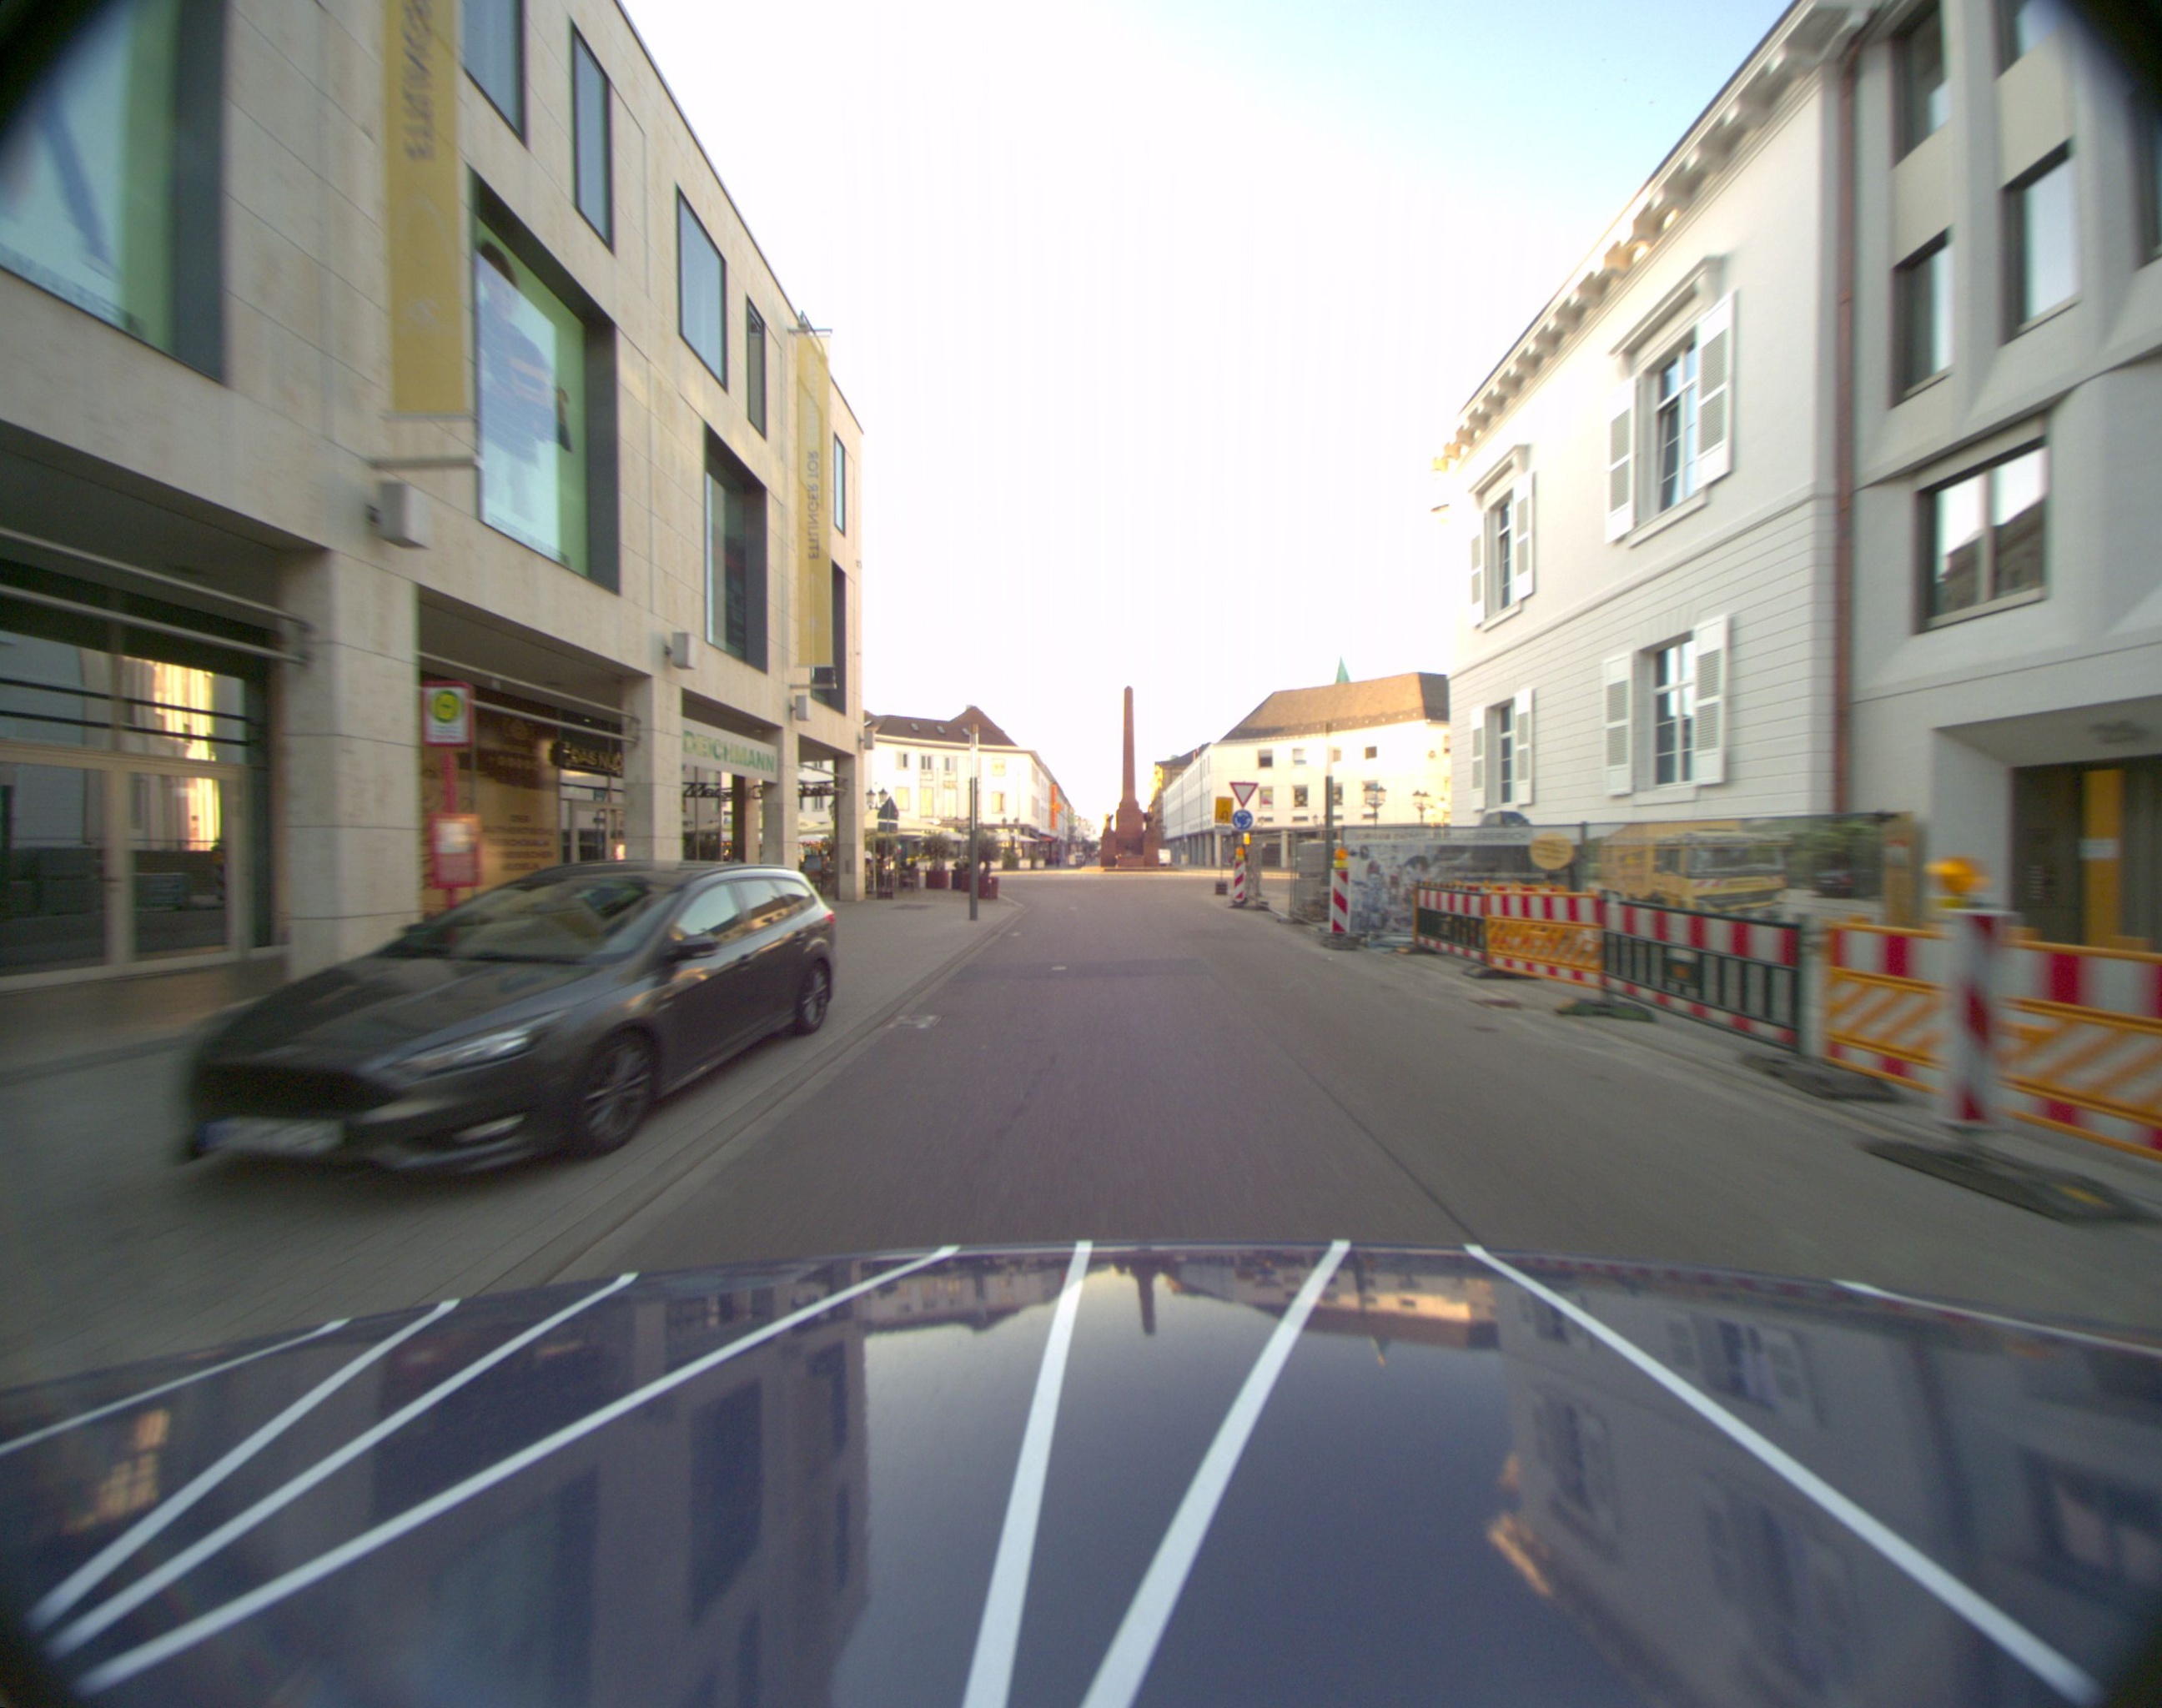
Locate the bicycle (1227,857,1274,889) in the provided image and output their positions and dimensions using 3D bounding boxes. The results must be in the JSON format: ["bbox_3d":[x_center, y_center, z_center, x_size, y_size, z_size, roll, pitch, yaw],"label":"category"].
[{"bbox_3d":[6.858,0.736,30.611,0.796,1.210,2.238,0,1,43],"label":"bicycle"}]

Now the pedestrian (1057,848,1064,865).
[{"bbox_3d":[-2.057,0.292,76.662,0.604,1.691,0.713,0,1,-4],"label":"pedestrian"}]

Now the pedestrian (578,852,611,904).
[{"bbox_3d":[-17.326,0.844,27.067,0.716,1.851,0.670,0,1,24],"label":"pedestrian"}]

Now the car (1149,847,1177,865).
[{"bbox_3d":[8.406,0.169,78.148,2.021,1.815,4.457,-1,0,-5],"label":"car"}]

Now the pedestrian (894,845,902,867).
[{"bbox_3d":[-15.102,0.143,62.718,0.508,1.807,0.719,0,1,3],"label":"pedestrian"}]

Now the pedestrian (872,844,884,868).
[{"bbox_3d":[-16.209,0.184,60.786,0.644,1.917,0.629,0,1,25],"label":"pedestrian"}]

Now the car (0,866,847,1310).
[{"bbox_3d":[-3.164,0.911,4.957,1.799,1.482,4.193,3,1,2],"label":"car"}]

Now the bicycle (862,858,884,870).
[{"bbox_3d":[-16.518,0.811,60.353,0.473,0.928,1.681,0,1,39],"label":"bicycle"}]

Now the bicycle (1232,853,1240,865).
[{"bbox_3d":[15.508,0.461,75.966,0.480,1.149,1.949,0,0,1],"label":"bicycle"}]

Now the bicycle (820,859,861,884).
[{"bbox_3d":[-11.024,0.813,34.920,0.606,1.121,1.910,0,-1,26],"label":"bicycle"}]

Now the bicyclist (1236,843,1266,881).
[{"bbox_3d":[6.836,0.309,30.574,0.796,1.523,0.976,0,1,43],"label":"bicyclist"}]

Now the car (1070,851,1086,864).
[{"bbox_3d":[-0.307,0.396,86.183,1.781,1.416,3.961,0,0,1],"label":"car"}]

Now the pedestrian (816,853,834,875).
[{"bbox_3d":[-17.020,0.668,50.609,0.721,1.439,0.867,0,1,25],"label":"pedestrian"}]

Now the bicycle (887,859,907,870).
[{"bbox_3d":[-15.220,0.863,62.816,0.473,0.928,1.681,0,1,39],"label":"bicycle"}]

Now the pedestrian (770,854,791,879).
[{"bbox_3d":[-17.489,0.703,44.269,0.721,1.439,0.867,0,1,25],"label":"pedestrian"}]

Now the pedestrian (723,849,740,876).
[{"bbox_3d":[-22.850,0.572,49.706,0.709,1.737,0.717,0,1,8],"label":"pedestrian"}]

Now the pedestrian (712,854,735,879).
[{"bbox_3d":[-20.630,0.708,43.869,0.773,1.439,0.854,0,1,17],"label":"pedestrian"}]

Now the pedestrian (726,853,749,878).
[{"bbox_3d":[-19.769,0.668,43.729,0.773,1.439,0.853,0,1,16],"label":"pedestrian"}]

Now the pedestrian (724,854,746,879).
[{"bbox_3d":[-20.416,0.711,44.837,0.773,1.439,0.854,0,1,17],"label":"pedestrian"}]

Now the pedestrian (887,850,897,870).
[{"bbox_3d":[-15.829,0.462,63.588,0.619,1.667,0.734,0,1,3],"label":"pedestrian"}]
